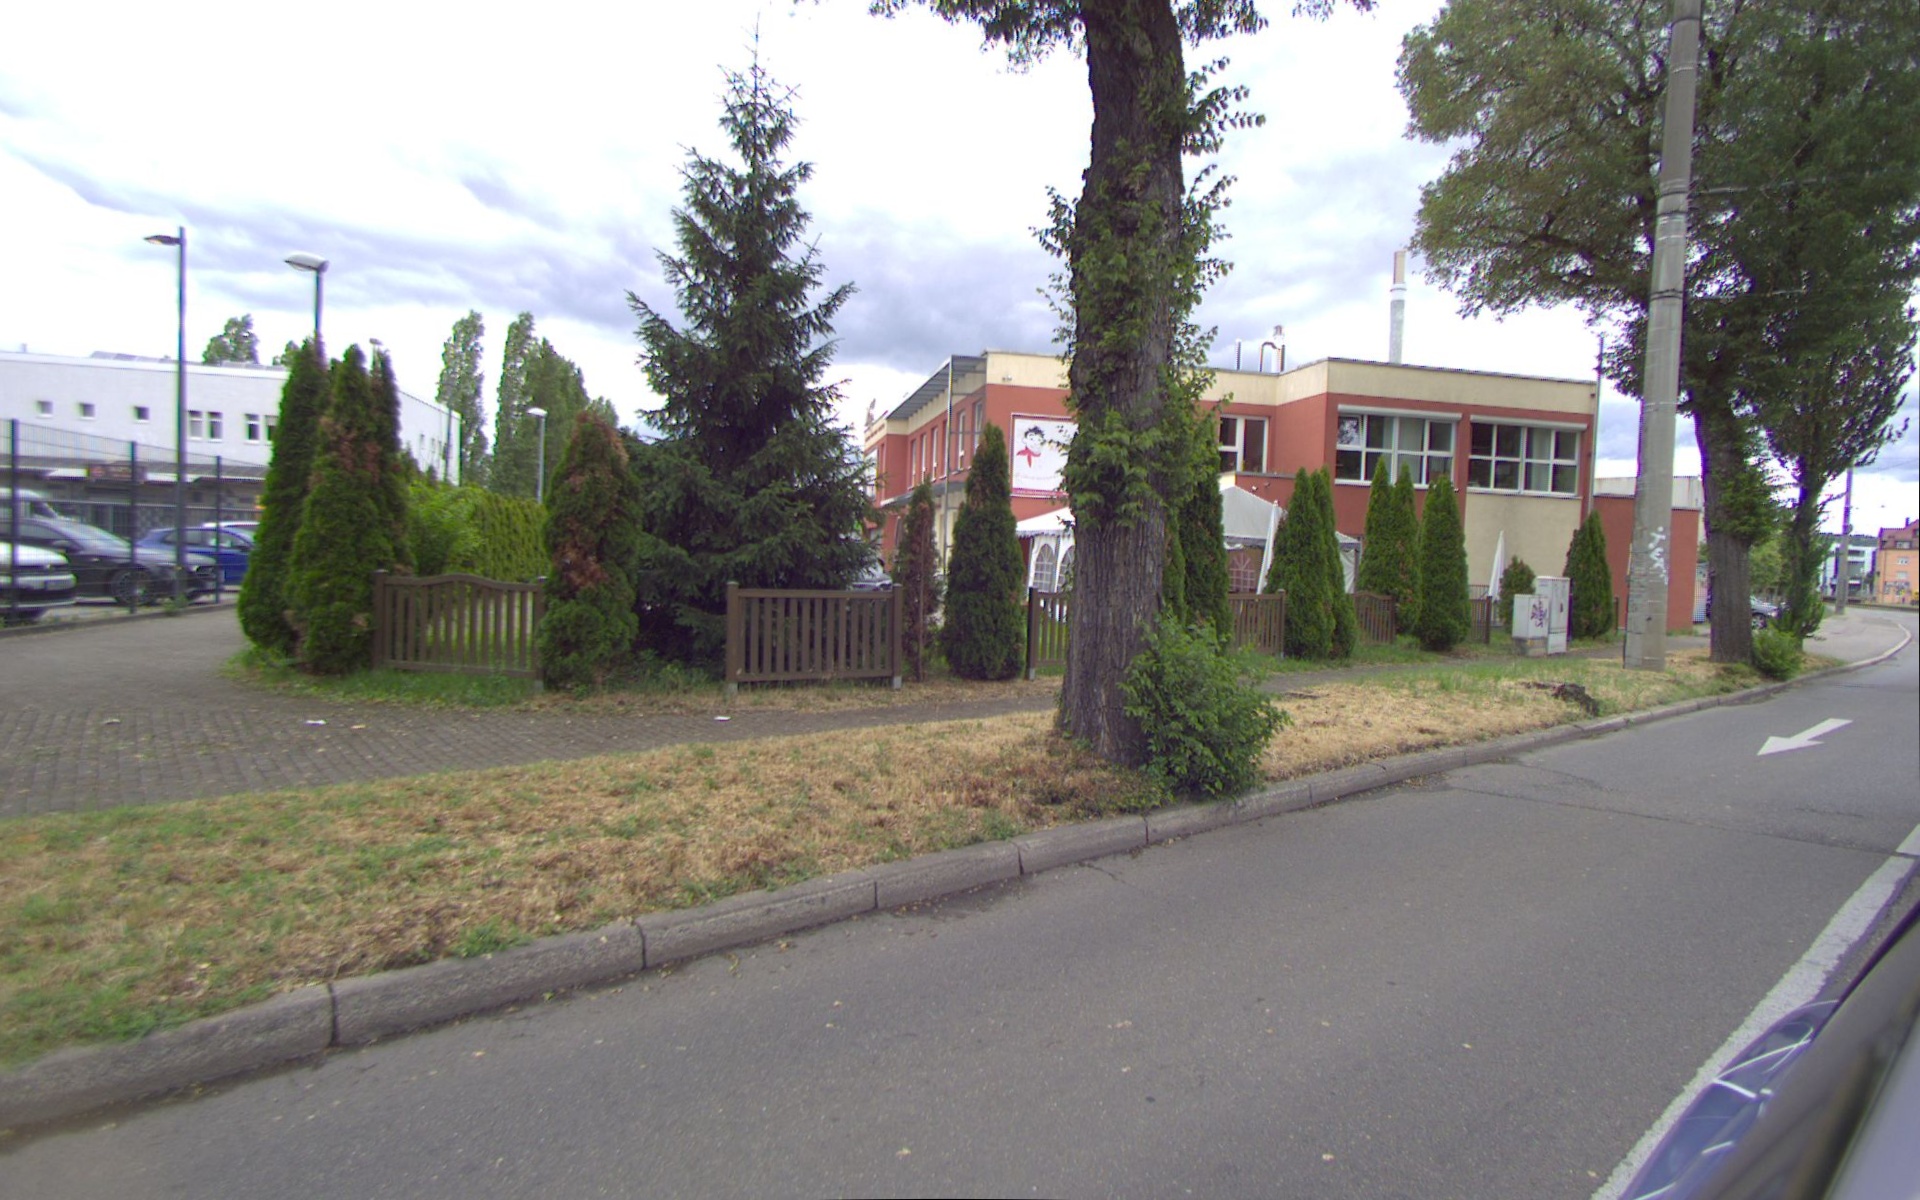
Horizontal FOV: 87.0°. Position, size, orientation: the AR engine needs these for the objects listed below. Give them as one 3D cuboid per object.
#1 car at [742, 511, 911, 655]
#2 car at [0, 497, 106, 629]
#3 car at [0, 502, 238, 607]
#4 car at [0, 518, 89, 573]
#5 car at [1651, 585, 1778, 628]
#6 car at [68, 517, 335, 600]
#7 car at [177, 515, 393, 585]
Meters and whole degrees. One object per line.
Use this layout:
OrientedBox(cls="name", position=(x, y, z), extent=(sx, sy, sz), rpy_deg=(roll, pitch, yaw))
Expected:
OrientedBox(cls="car", position=(-2.305, -0.264, 16.474), extent=(1.958, 2.039, 4.008), rpy_deg=(0, 0, -19))
OrientedBox(cls="car", position=(-14.436, -0.555, 13.350), extent=(4.407, 1.686, 2.005), rpy_deg=(1, 2, -14))
OrientedBox(cls="car", position=(-15.560, -0.806, 17.656), extent=(4.407, 1.686, 2.005), rpy_deg=(1, 2, -14))
OrientedBox(cls="car", position=(-30.774, -1.717, 32.206), extent=(4.181, 1.670, 2.004), rpy_deg=(0, 0, -17))
OrientedBox(cls="car", position=(30.853, 0.239, 41.438), extent=(3.986, 1.666, 1.867), rpy_deg=(0, 0, 43))
OrientedBox(cls="car", position=(-17.022, -0.920, 22.962), extent=(4.407, 1.686, 2.005), rpy_deg=(1, 2, -14))
OrientedBox(cls="car", position=(-17.979, -1.317, 27.196), extent=(4.407, 1.686, 2.005), rpy_deg=(1, 2, -14))
